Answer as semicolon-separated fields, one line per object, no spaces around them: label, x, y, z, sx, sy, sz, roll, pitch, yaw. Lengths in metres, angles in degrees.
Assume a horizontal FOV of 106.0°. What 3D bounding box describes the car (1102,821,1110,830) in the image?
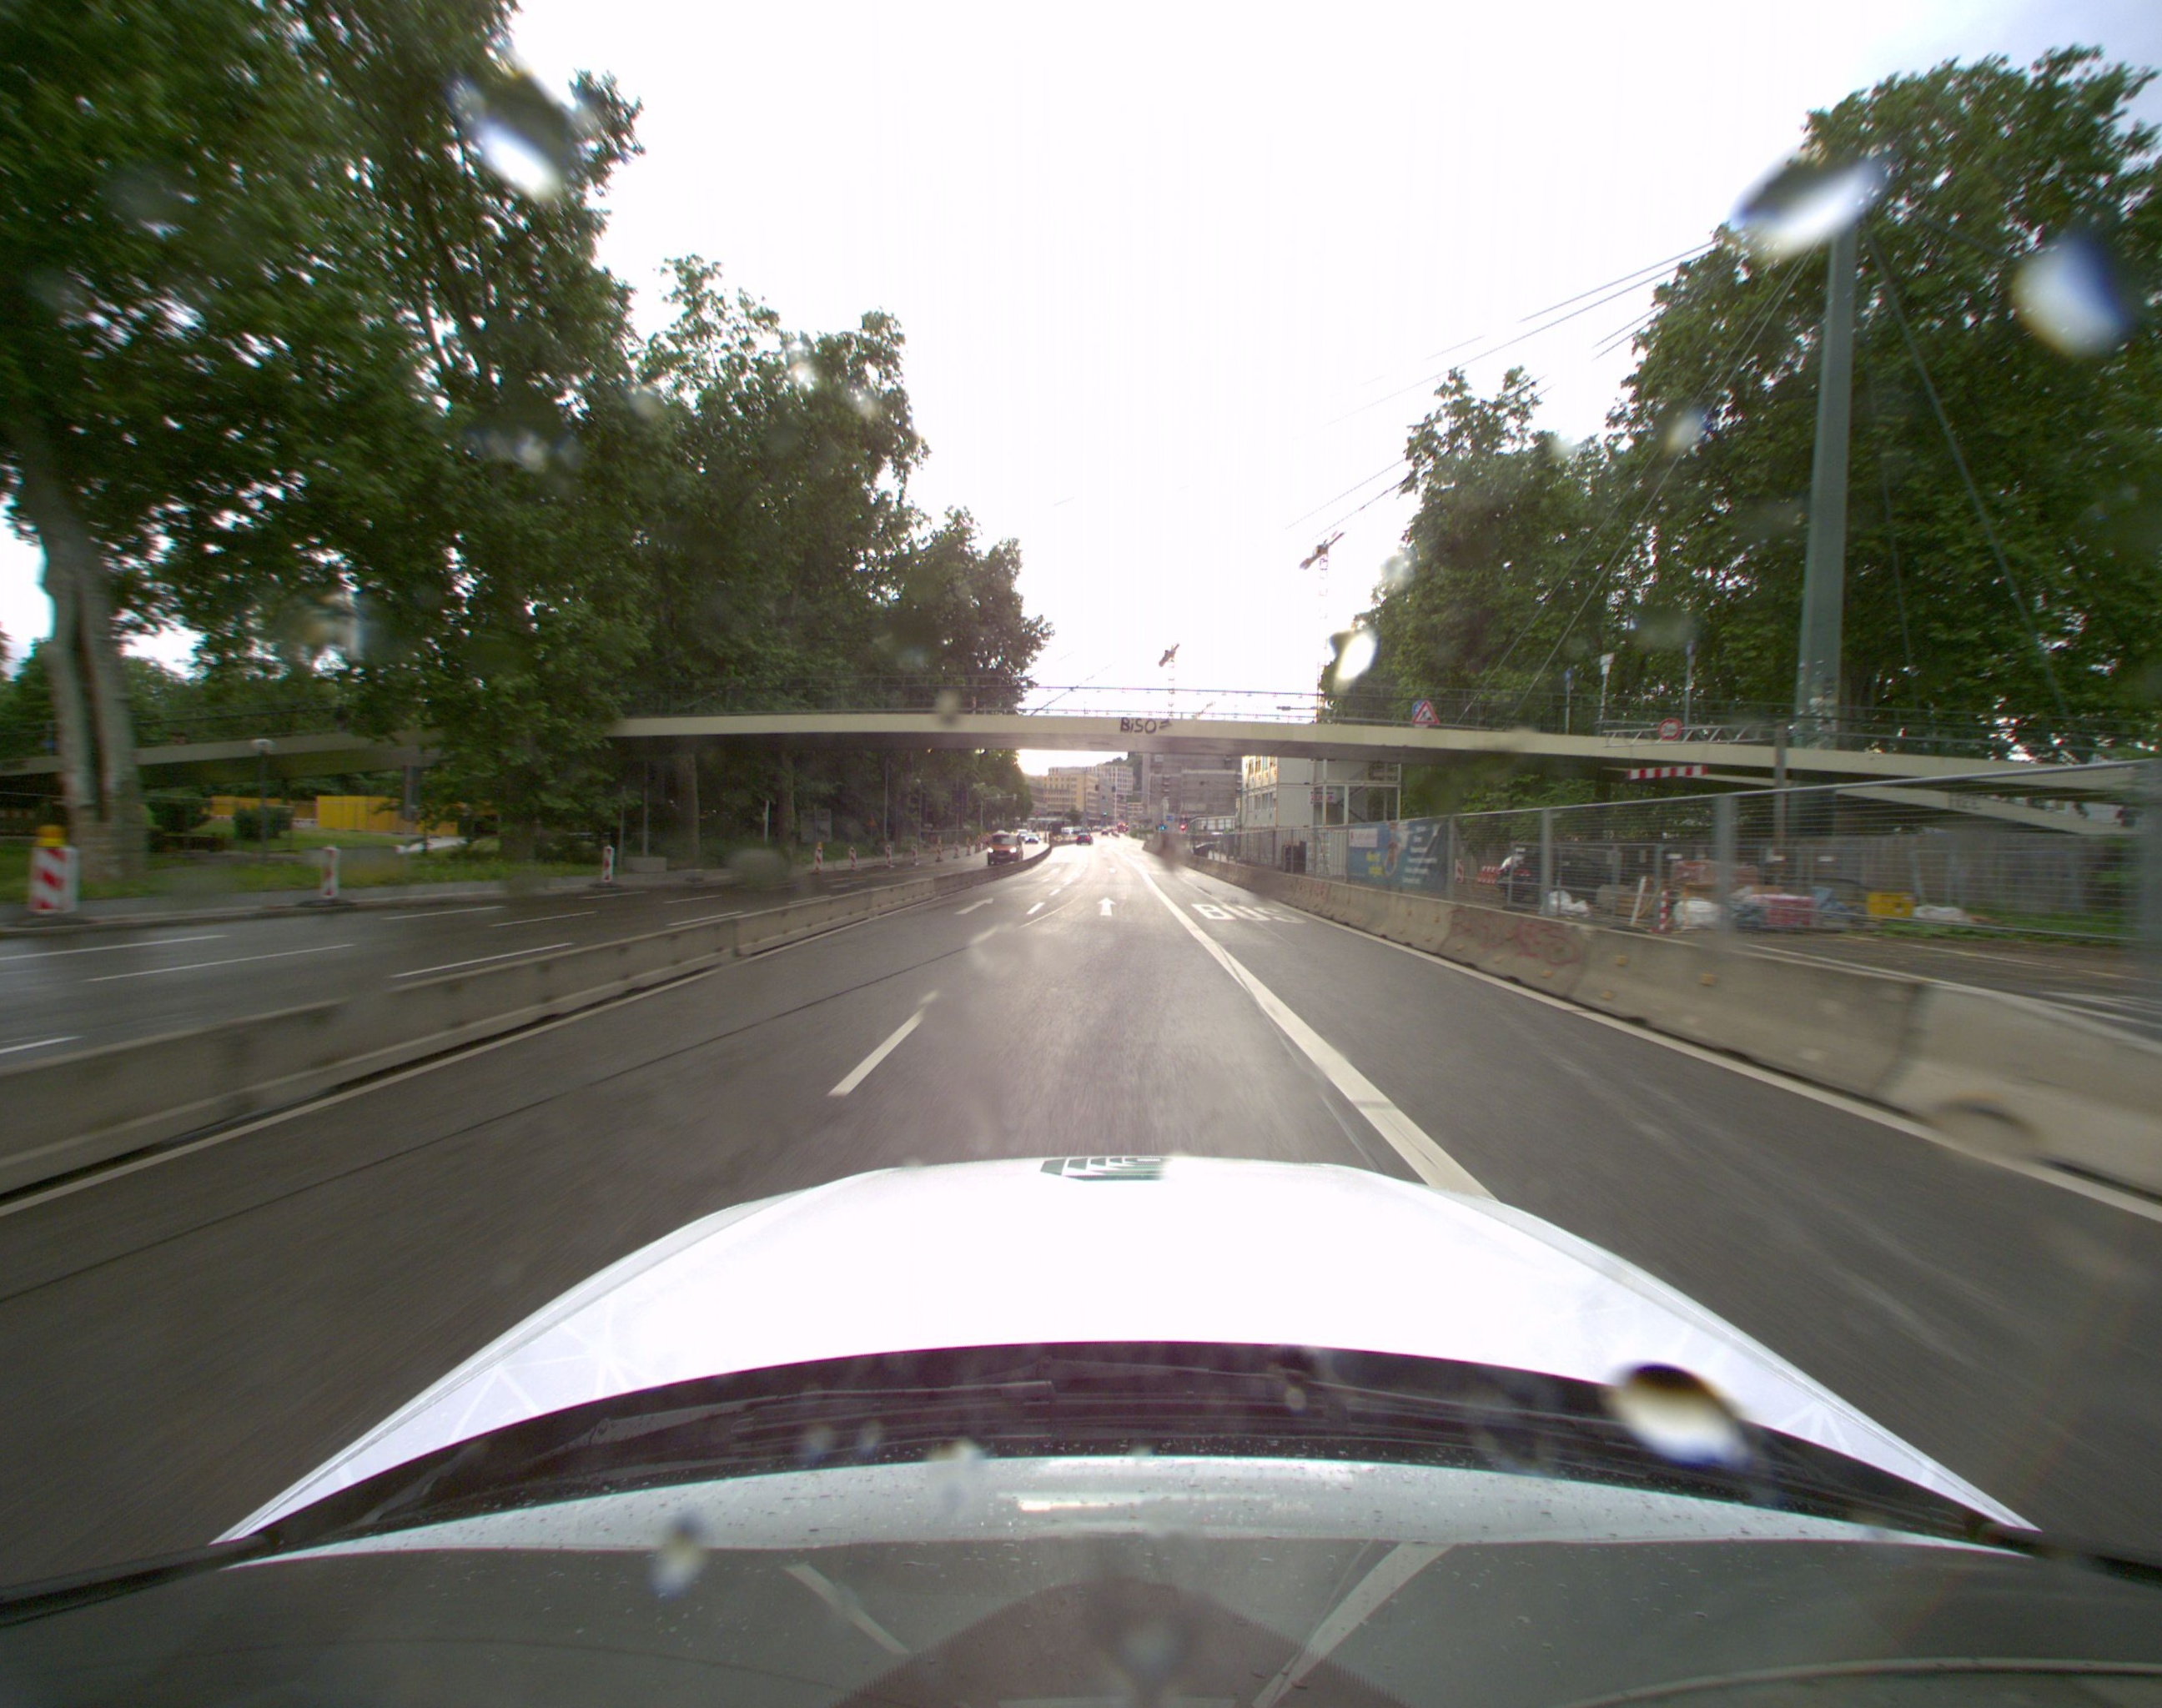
car;6.310;-7.185;205.482;1.986;2.014;4.002;-1;-1;2

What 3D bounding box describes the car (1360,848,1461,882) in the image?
car;17.229;0.570;42.725;4.529;1.628;1.787;1;2;-1

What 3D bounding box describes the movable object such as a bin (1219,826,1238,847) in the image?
movable object such as a bin;15.733;-1.900;86.885;1.462;2.202;1.256;0;3;-23

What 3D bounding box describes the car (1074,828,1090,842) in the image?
car;0.150;-2.431;104.874;1.897;1.528;4.174;-1;-1;-2

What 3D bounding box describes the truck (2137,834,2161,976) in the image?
truck;17.988;0.754;10.881;5.146;2.014;2.404;1;-1;-6

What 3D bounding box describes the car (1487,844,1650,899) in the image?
car;16.815;0.568;28.219;4.490;1.728;1.997;1;1;-4

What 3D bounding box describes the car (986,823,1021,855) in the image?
car;-4.980;-0.911;53.038;2.026;1.936;5.038;-1;-1;-3

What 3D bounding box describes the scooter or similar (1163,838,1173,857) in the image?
scooter or similar;6.292;-0.496;59.046;0.594;1.319;1.669;2;1;3

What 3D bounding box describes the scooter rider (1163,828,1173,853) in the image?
scooter rider;6.298;-1.009;58.969;0.595;1.785;0.998;2;1;3
